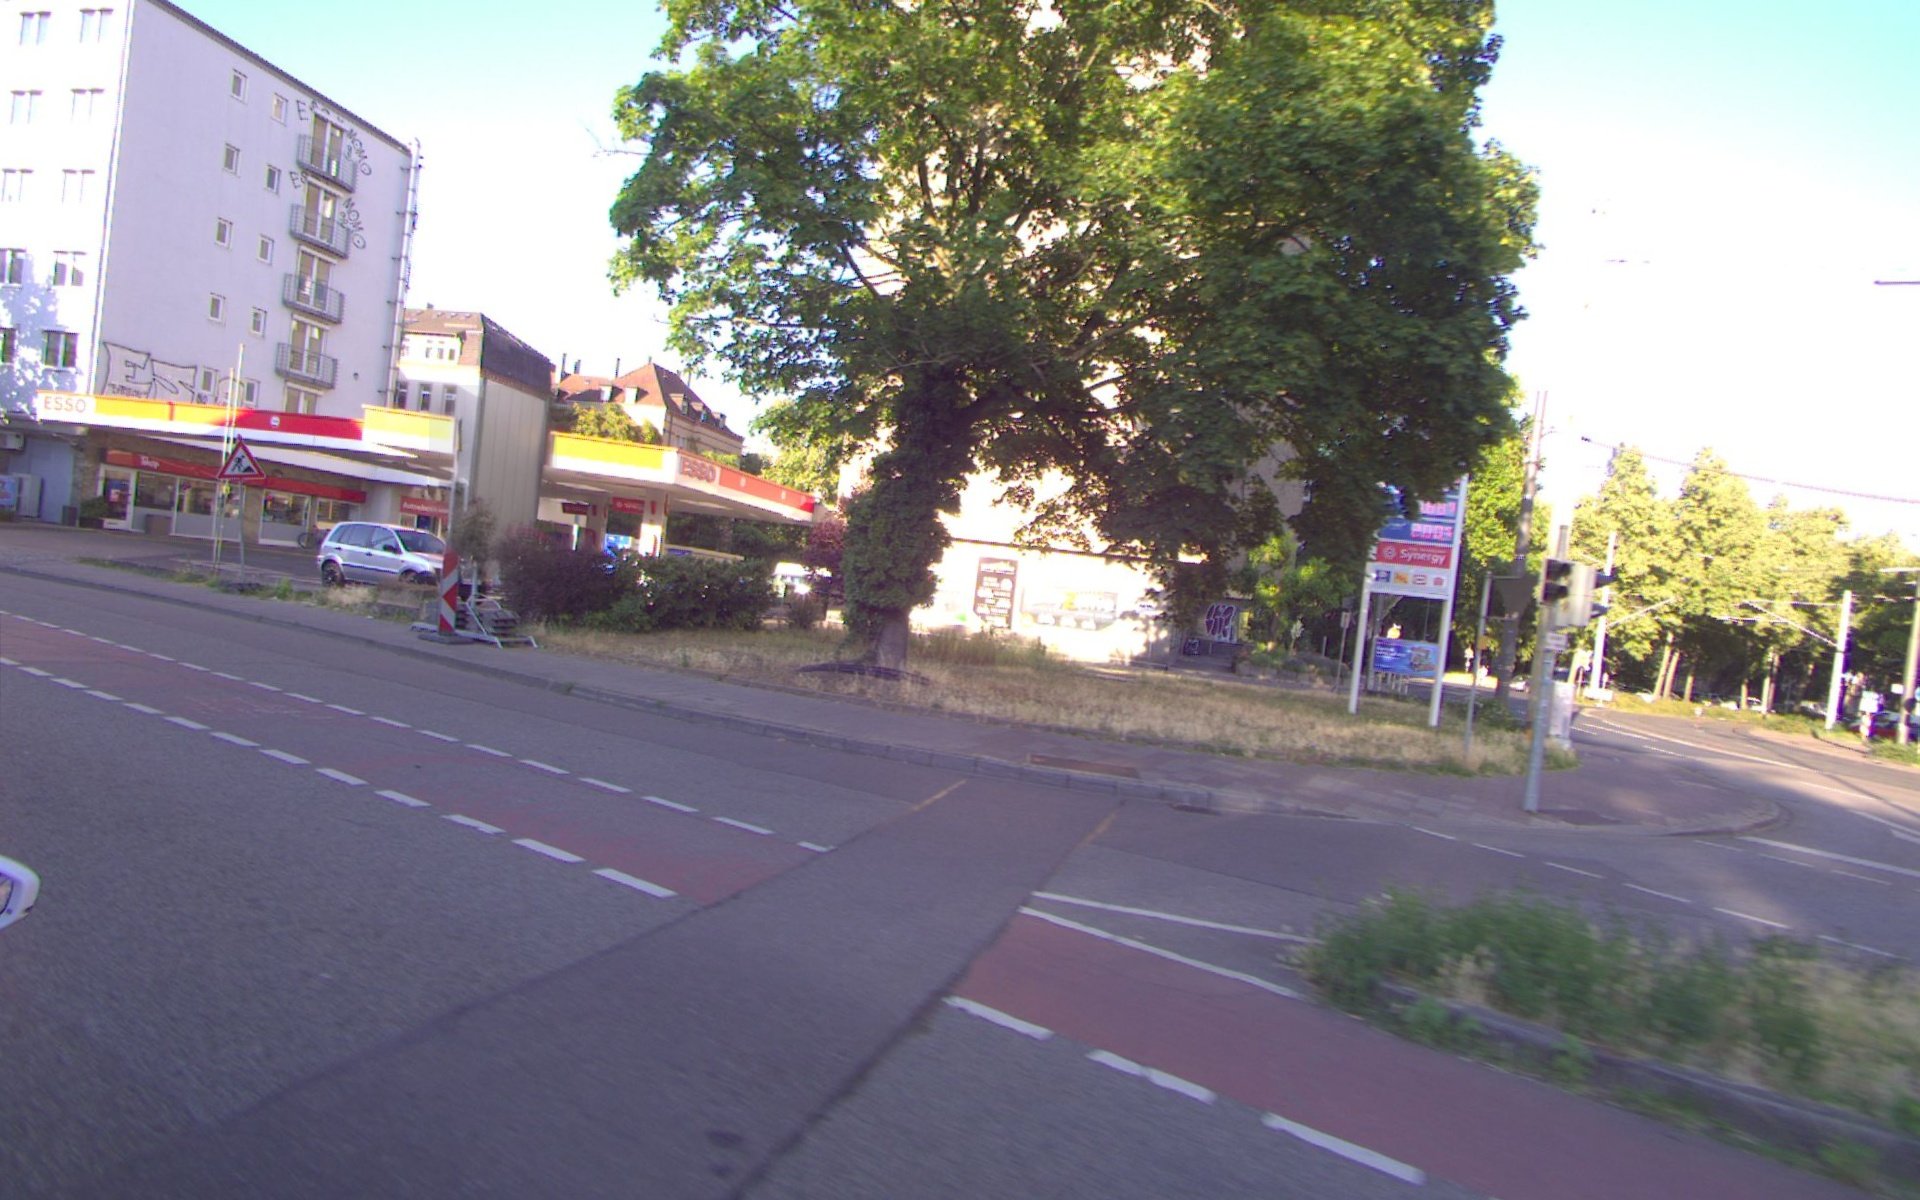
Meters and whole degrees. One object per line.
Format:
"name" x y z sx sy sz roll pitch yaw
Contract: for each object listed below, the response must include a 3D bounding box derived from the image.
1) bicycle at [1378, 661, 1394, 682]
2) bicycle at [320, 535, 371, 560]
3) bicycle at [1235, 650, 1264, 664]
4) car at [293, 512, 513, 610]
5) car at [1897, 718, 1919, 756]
"bicycle" 22.654 3.825 53.514 0.549 0.993 1.724 8 -2 20
"bicycle" -27.371 -2.350 44.809 1.782 0.839 0.622 8 1 -2
"bicycle" 14.605 2.872 50.822 1.362 0.674 0.443 -1 -2 25
"car" -11.980 -0.839 21.642 4.273 1.549 1.777 7 0 23
"car" 45.400 6.501 46.351 3.950 1.638 1.812 7 1 -26
